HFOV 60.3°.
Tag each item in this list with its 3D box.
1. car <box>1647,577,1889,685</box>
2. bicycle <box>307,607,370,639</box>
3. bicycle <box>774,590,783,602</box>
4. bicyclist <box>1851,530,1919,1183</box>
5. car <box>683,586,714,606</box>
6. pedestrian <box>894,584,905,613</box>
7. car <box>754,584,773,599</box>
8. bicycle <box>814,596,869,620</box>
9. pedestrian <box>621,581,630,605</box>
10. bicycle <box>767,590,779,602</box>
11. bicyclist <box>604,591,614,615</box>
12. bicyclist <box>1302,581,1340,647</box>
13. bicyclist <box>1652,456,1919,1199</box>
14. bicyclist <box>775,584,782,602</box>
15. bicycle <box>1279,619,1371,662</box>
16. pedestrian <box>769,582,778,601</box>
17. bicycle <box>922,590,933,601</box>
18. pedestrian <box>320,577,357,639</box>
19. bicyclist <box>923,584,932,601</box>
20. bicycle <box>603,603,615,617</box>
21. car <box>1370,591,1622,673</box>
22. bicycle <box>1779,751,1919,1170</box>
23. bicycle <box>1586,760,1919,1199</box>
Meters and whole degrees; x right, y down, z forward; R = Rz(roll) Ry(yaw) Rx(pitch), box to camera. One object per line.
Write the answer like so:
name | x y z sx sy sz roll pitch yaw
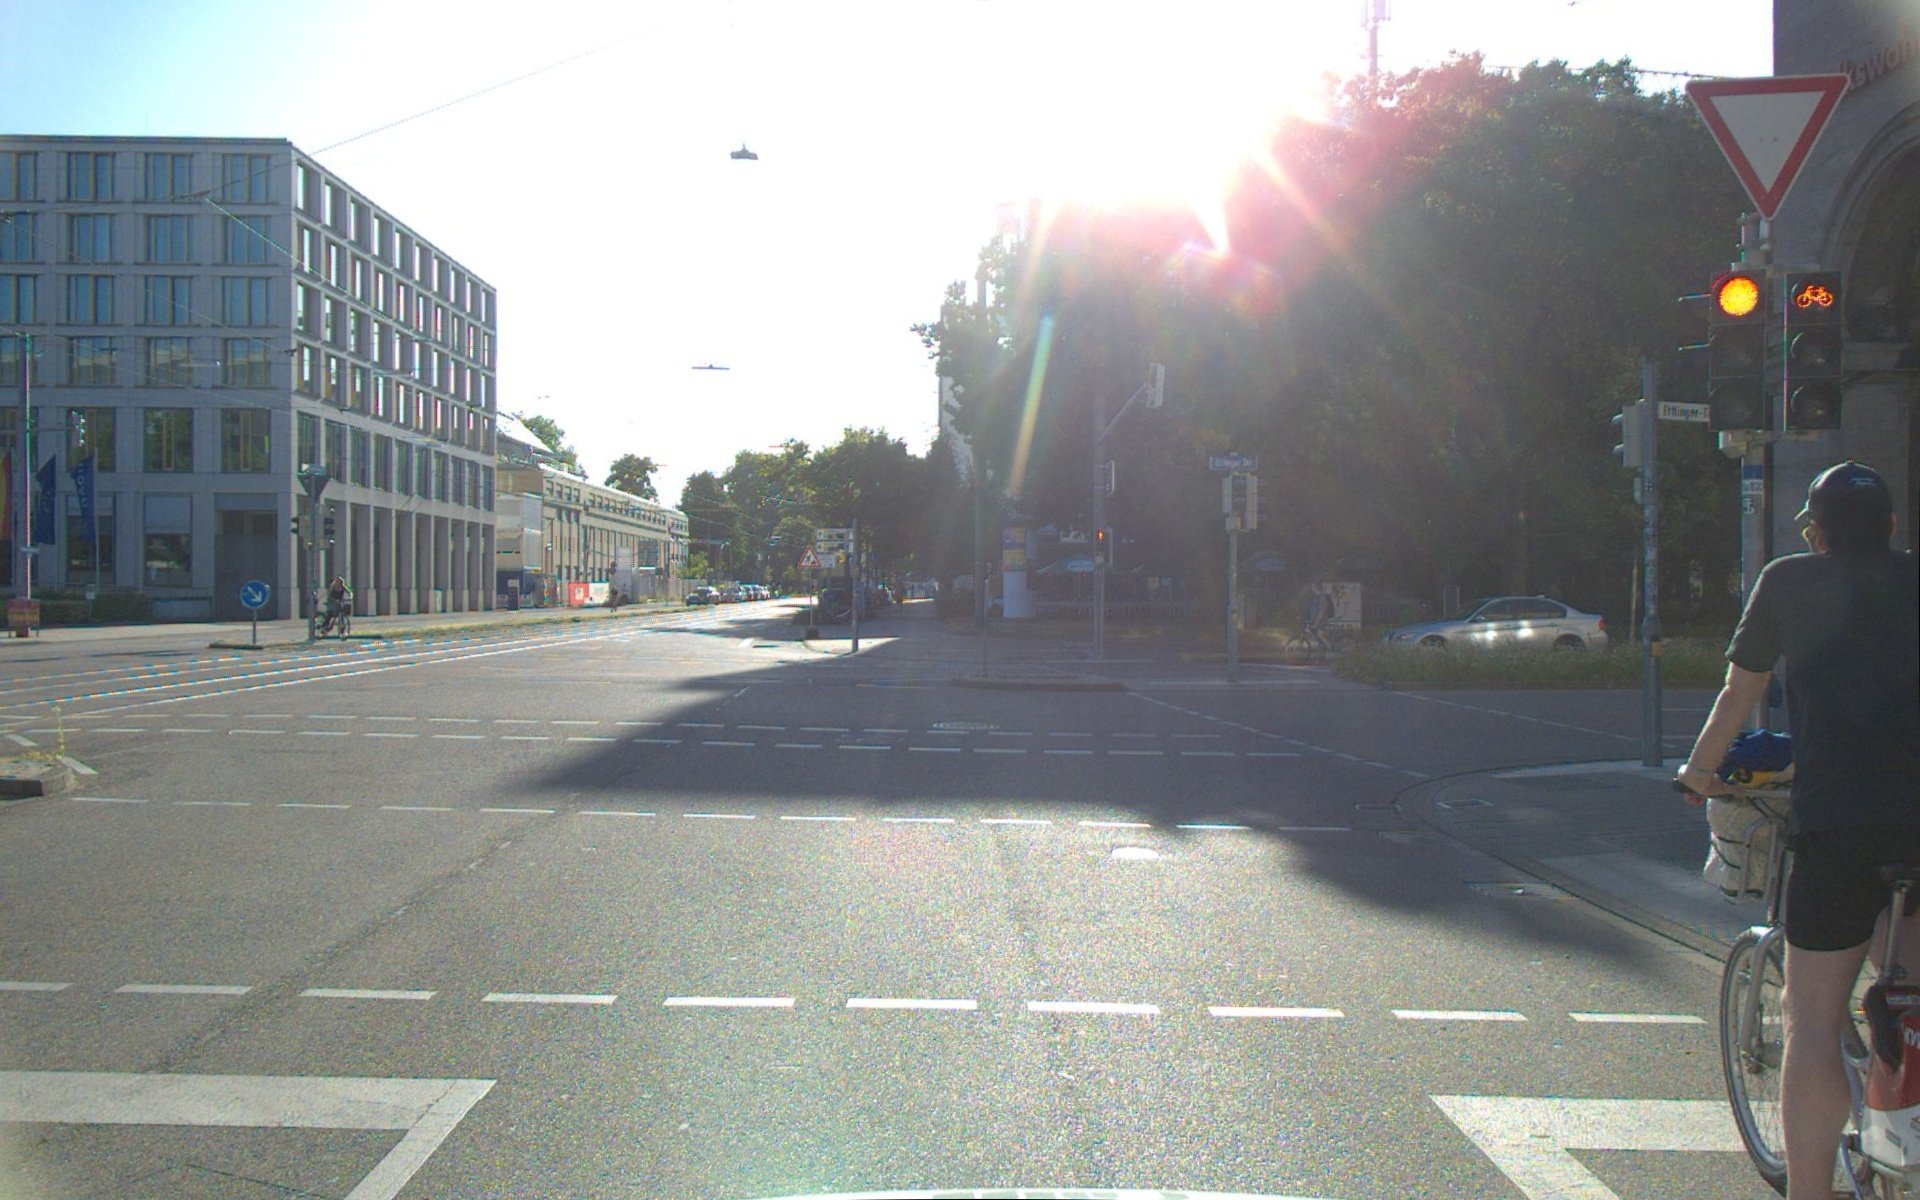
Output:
car | 16.230 0.616 33.368 3.905 2.049 2.000 1 0 0
bicycle | -16.388 0.605 43.606 1.679 0.837 0.573 0 0 27
bicycle | -20.007 -0.416 182.378 0.735 1.226 3.107 1 0 -2
bicyclist | 2.884 0.694 4.342 0.572 1.769 0.950 0 0 0
car | -21.836 -0.343 138.161 1.953 1.627 3.999 0 1 -1
pedestrian | -3.581 -0.087 97.593 0.566 1.719 0.584 0 0 -8
car | -23.061 -0.998 194.343 1.954 1.673 3.997 0 0 -4
bicycle | -4.815 0.331 67.132 2.201 0.956 0.653 0 0 -6
pedestrian | -26.481 -0.565 131.067 0.576 1.922 0.478 1 -1 -1
bicycle | -20.072 -0.465 177.700 0.735 1.226 3.109 1 0 5
bicyclist | -22.061 0.177 103.971 0.484 1.525 0.666 0 0 2
bicyclist | 7.957 0.309 36.480 0.731 1.431 0.702 1 -1 6
bicyclist | 2.142 0.571 3.889 0.611 1.745 0.912 0 0 -3
bicyclist | -20.001 -0.787 182.261 0.735 1.953 1.214 1 0 -2
bicycle | 8.035 0.884 36.473 1.902 0.905 0.718 1 0 5
pedestrian | -20.076 -0.898 177.770 0.735 2.099 1.050 1 -1 5
bicycle | -3.910 -0.527 198.400 0.875 1.240 2.785 1 0 -12
pedestrian | -16.381 0.208 43.596 0.727 1.623 0.573 0 0 26
bicyclist | -3.913 -0.932 198.461 0.875 2.049 0.746 1 -1 -12
bicycle | -22.059 0.638 103.939 0.484 0.854 1.156 0 0 2
car | 10.851 0.634 33.713 4.483 1.543 2.000 1 0 -1
bicycle | 2.885 1.015 4.377 0.570 1.062 1.747 0 0 0
bicycle | 2.138 0.998 3.901 0.610 1.062 1.746 0 0 -2
